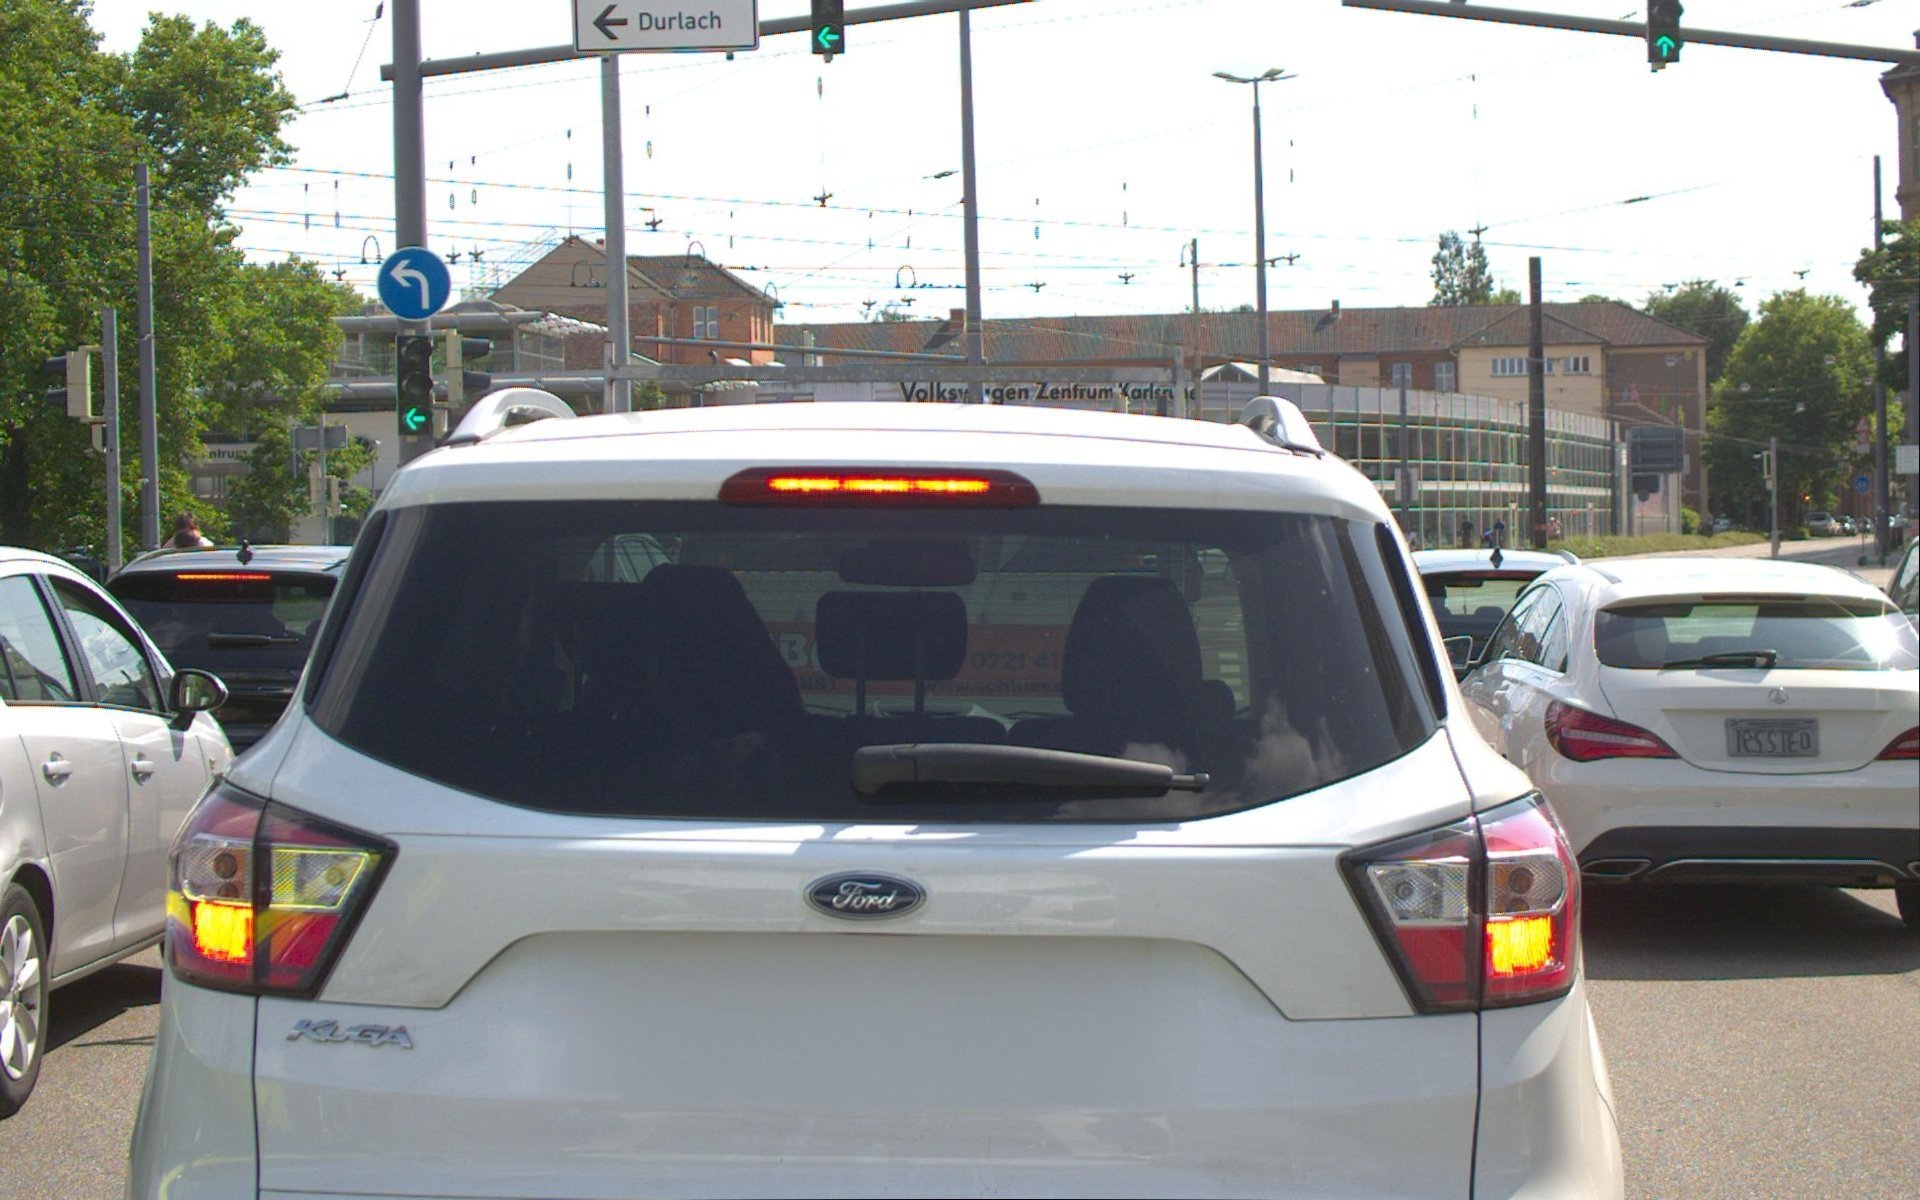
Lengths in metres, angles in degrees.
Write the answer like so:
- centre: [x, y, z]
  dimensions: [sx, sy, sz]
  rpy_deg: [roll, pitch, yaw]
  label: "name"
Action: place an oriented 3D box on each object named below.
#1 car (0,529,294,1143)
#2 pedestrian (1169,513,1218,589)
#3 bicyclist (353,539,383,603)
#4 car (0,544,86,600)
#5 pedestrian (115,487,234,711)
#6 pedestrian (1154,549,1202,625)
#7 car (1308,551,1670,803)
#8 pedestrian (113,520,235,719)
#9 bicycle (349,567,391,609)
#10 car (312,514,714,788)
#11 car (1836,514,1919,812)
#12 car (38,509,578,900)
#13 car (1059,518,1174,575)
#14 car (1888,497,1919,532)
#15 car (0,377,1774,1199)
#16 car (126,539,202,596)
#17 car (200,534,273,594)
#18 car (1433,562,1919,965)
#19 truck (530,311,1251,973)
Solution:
- centre: [-3.252, 0.547, 10.071]
  dimensions: [1.848, 1.469, 4.000]
  rpy_deg: [-1, 1, -1]
  label: "car"
- centre: [5.353, -1.122, 78.923]
  dimensions: [0.924, 1.738, 0.589]
  rpy_deg: [1, 0, -32]
  label: "pedestrian"
- centre: [-16.230, -0.809, 94.211]
  dimensions: [0.637, 1.732, 0.662]
  rpy_deg: [-1, 2, -25]
  label: "bicyclist"
- centre: [-33.326, -0.997, 124.699]
  dimensions: [1.967, 1.930, 5.069]
  rpy_deg: [-3, 0, -1]
  label: "car"
- centre: [-6.834, -0.014, 29.934]
  dimensions: [0.847, 1.910, 0.692]
  rpy_deg: [-1, 0, -1]
  label: "pedestrian"
- centre: [5.053, -0.299, 79.637]
  dimensions: [0.924, 1.738, 0.589]
  rpy_deg: [1, 0, -32]
  label: "pedestrian"
- centre: [3.169, 0.409, 21.237]
  dimensions: [1.850, 1.414, 3.679]
  rpy_deg: [0, 1, 3]
  label: "car"
- centre: [-6.647, 0.158, 29.108]
  dimensions: [0.847, 1.642, 0.692]
  rpy_deg: [-1, 0, -1]
  label: "pedestrian"
- centre: [-16.166, -0.332, 94.133]
  dimensions: [0.637, 1.121, 1.785]
  rpy_deg: [-1, 2, -26]
  label: "bicycle"
- centre: [-2.736, 0.256, 22.086]
  dimensions: [2.039, 1.573, 4.540]
  rpy_deg: [0, 1, -1]
  label: "car"
- centre: [6.305, 0.338, 19.857]
  dimensions: [1.837, 1.646, 3.999]
  rpy_deg: [0, 0, 6]
  label: "car"
- centre: [-2.867, 0.377, 16.066]
  dimensions: [1.762, 1.563, 4.527]
  rpy_deg: [0, 1, -1]
  label: "car"
- centre: [4.290, -1.473, 93.683]
  dimensions: [1.901, 1.456, 3.964]
  rpy_deg: [-2, 1, 22]
  label: "car"
- centre: [46.756, -4.183, 169.113]
  dimensions: [1.838, 1.646, 3.996]
  rpy_deg: [0, 0, 20]
  label: "car"
- centre: [-0.016, 0.581, 5.389]
  dimensions: [1.827, 1.658, 3.955]
  rpy_deg: [0, 1, 3]
  label: "car"
- centre: [-28.656, -1.148, 123.899]
  dimensions: [1.967, 1.930, 4.231]
  rpy_deg: [-3, 0, -5]
  label: "car"
- centre: [-25.996, -1.276, 123.642]
  dimensions: [1.993, 2.007, 4.231]
  rpy_deg: [-3, 0, -5]
  label: "car"
- centre: [3.014, 0.559, 14.017]
  dimensions: [1.850, 1.414, 3.679]
  rpy_deg: [0, 1, 3]
  label: "car"
- centre: [-0.123, 0.091, 14.131]
  dimensions: [2.339, 2.148, 5.852]
  rpy_deg: [0, 1, 2]
  label: "truck"
